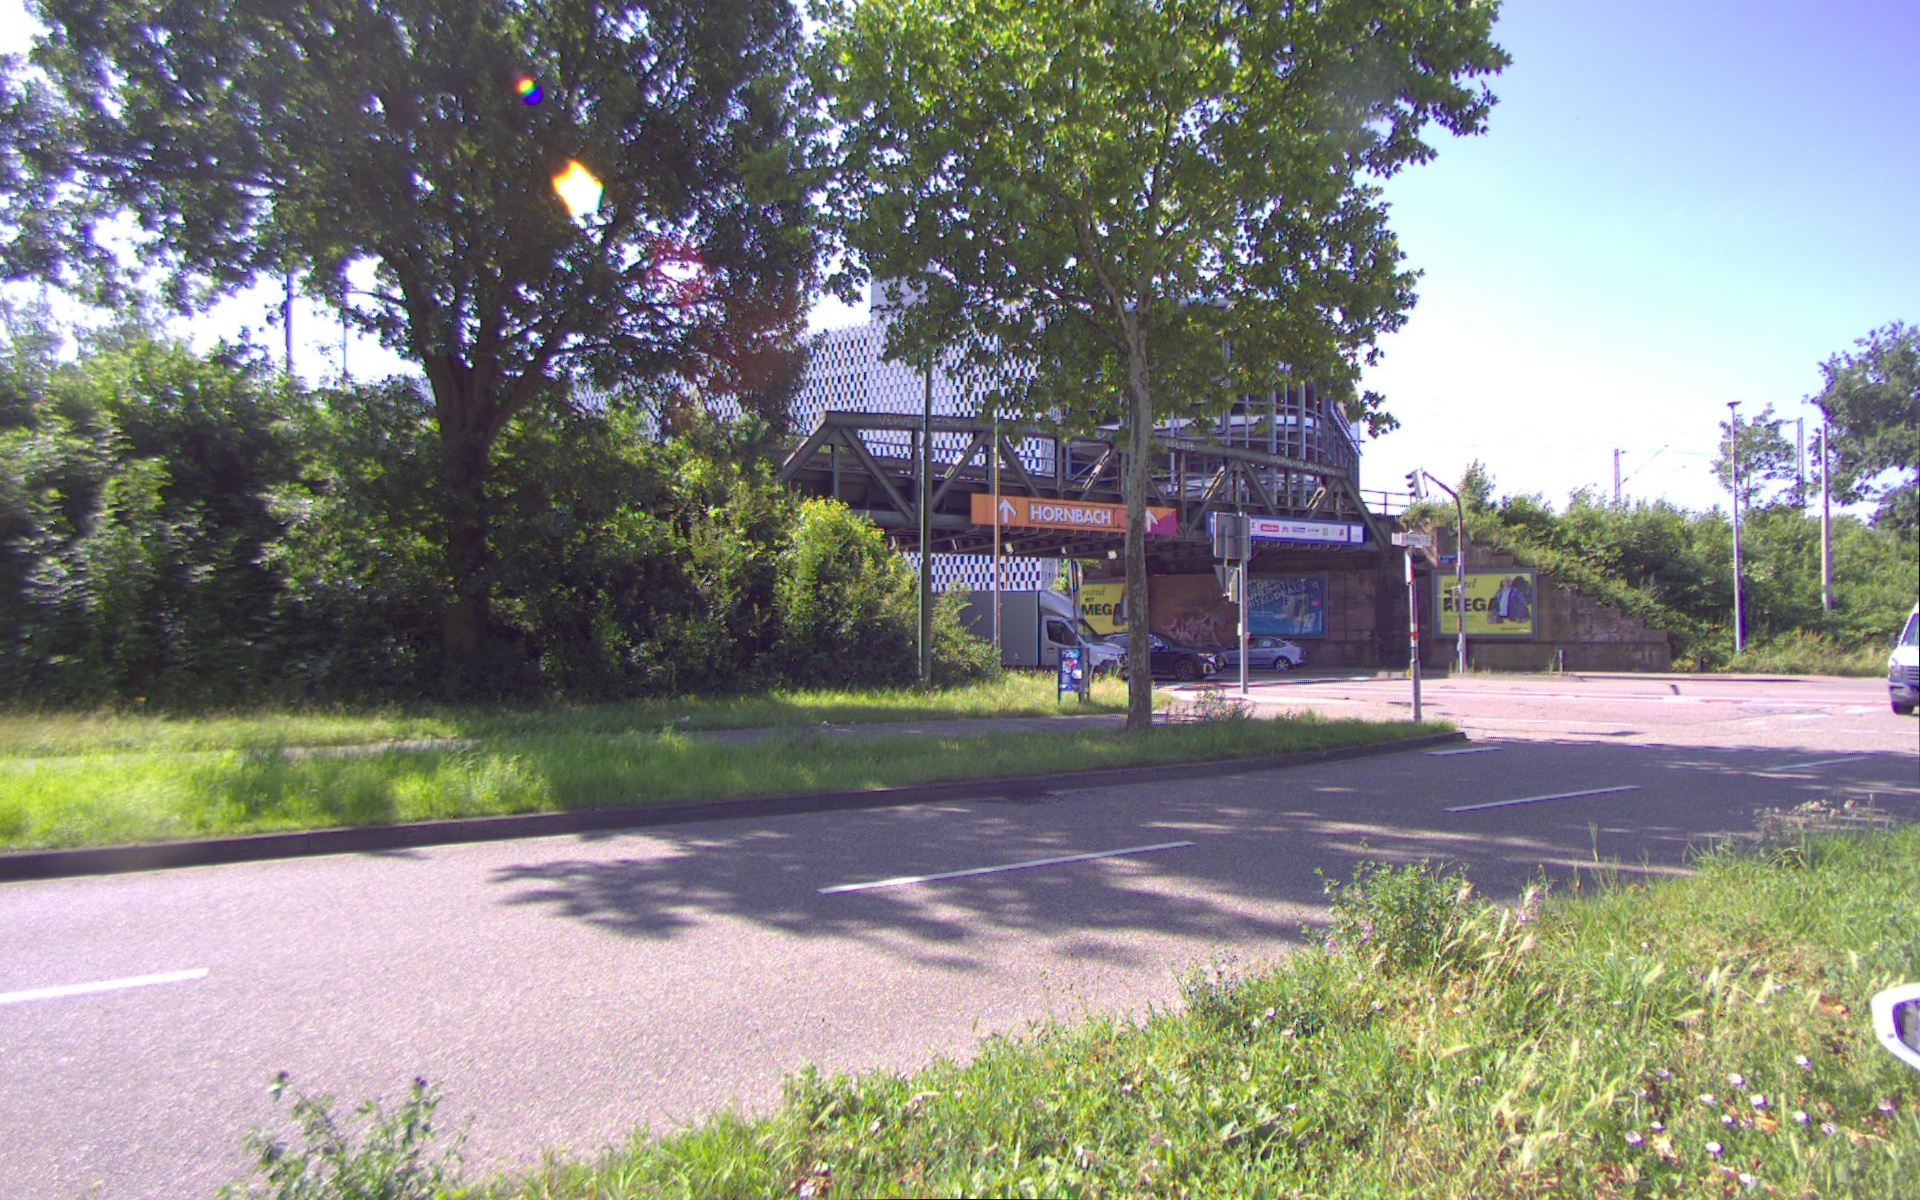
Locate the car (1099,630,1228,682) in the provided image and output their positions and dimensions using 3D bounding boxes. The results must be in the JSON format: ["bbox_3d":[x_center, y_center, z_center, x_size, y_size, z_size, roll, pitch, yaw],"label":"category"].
[{"bbox_3d":[6.910,1.894,34.178,3.926,1.668,1.902,-2,-2,27],"label":"car"}]

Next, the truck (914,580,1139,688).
[{"bbox_3d":[2.040,1.122,31.734,6.739,3.146,2.216,-2,-2,27],"label":"truck"}]

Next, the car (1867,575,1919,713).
[{"bbox_3d":[21.389,0.921,20.968,5.719,2.697,1.984,1,-3,-30],"label":"car"}]

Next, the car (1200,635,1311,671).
[{"bbox_3d":[12.137,2.181,41.311,4.147,1.367,1.638,-2,-2,27],"label":"car"}]
